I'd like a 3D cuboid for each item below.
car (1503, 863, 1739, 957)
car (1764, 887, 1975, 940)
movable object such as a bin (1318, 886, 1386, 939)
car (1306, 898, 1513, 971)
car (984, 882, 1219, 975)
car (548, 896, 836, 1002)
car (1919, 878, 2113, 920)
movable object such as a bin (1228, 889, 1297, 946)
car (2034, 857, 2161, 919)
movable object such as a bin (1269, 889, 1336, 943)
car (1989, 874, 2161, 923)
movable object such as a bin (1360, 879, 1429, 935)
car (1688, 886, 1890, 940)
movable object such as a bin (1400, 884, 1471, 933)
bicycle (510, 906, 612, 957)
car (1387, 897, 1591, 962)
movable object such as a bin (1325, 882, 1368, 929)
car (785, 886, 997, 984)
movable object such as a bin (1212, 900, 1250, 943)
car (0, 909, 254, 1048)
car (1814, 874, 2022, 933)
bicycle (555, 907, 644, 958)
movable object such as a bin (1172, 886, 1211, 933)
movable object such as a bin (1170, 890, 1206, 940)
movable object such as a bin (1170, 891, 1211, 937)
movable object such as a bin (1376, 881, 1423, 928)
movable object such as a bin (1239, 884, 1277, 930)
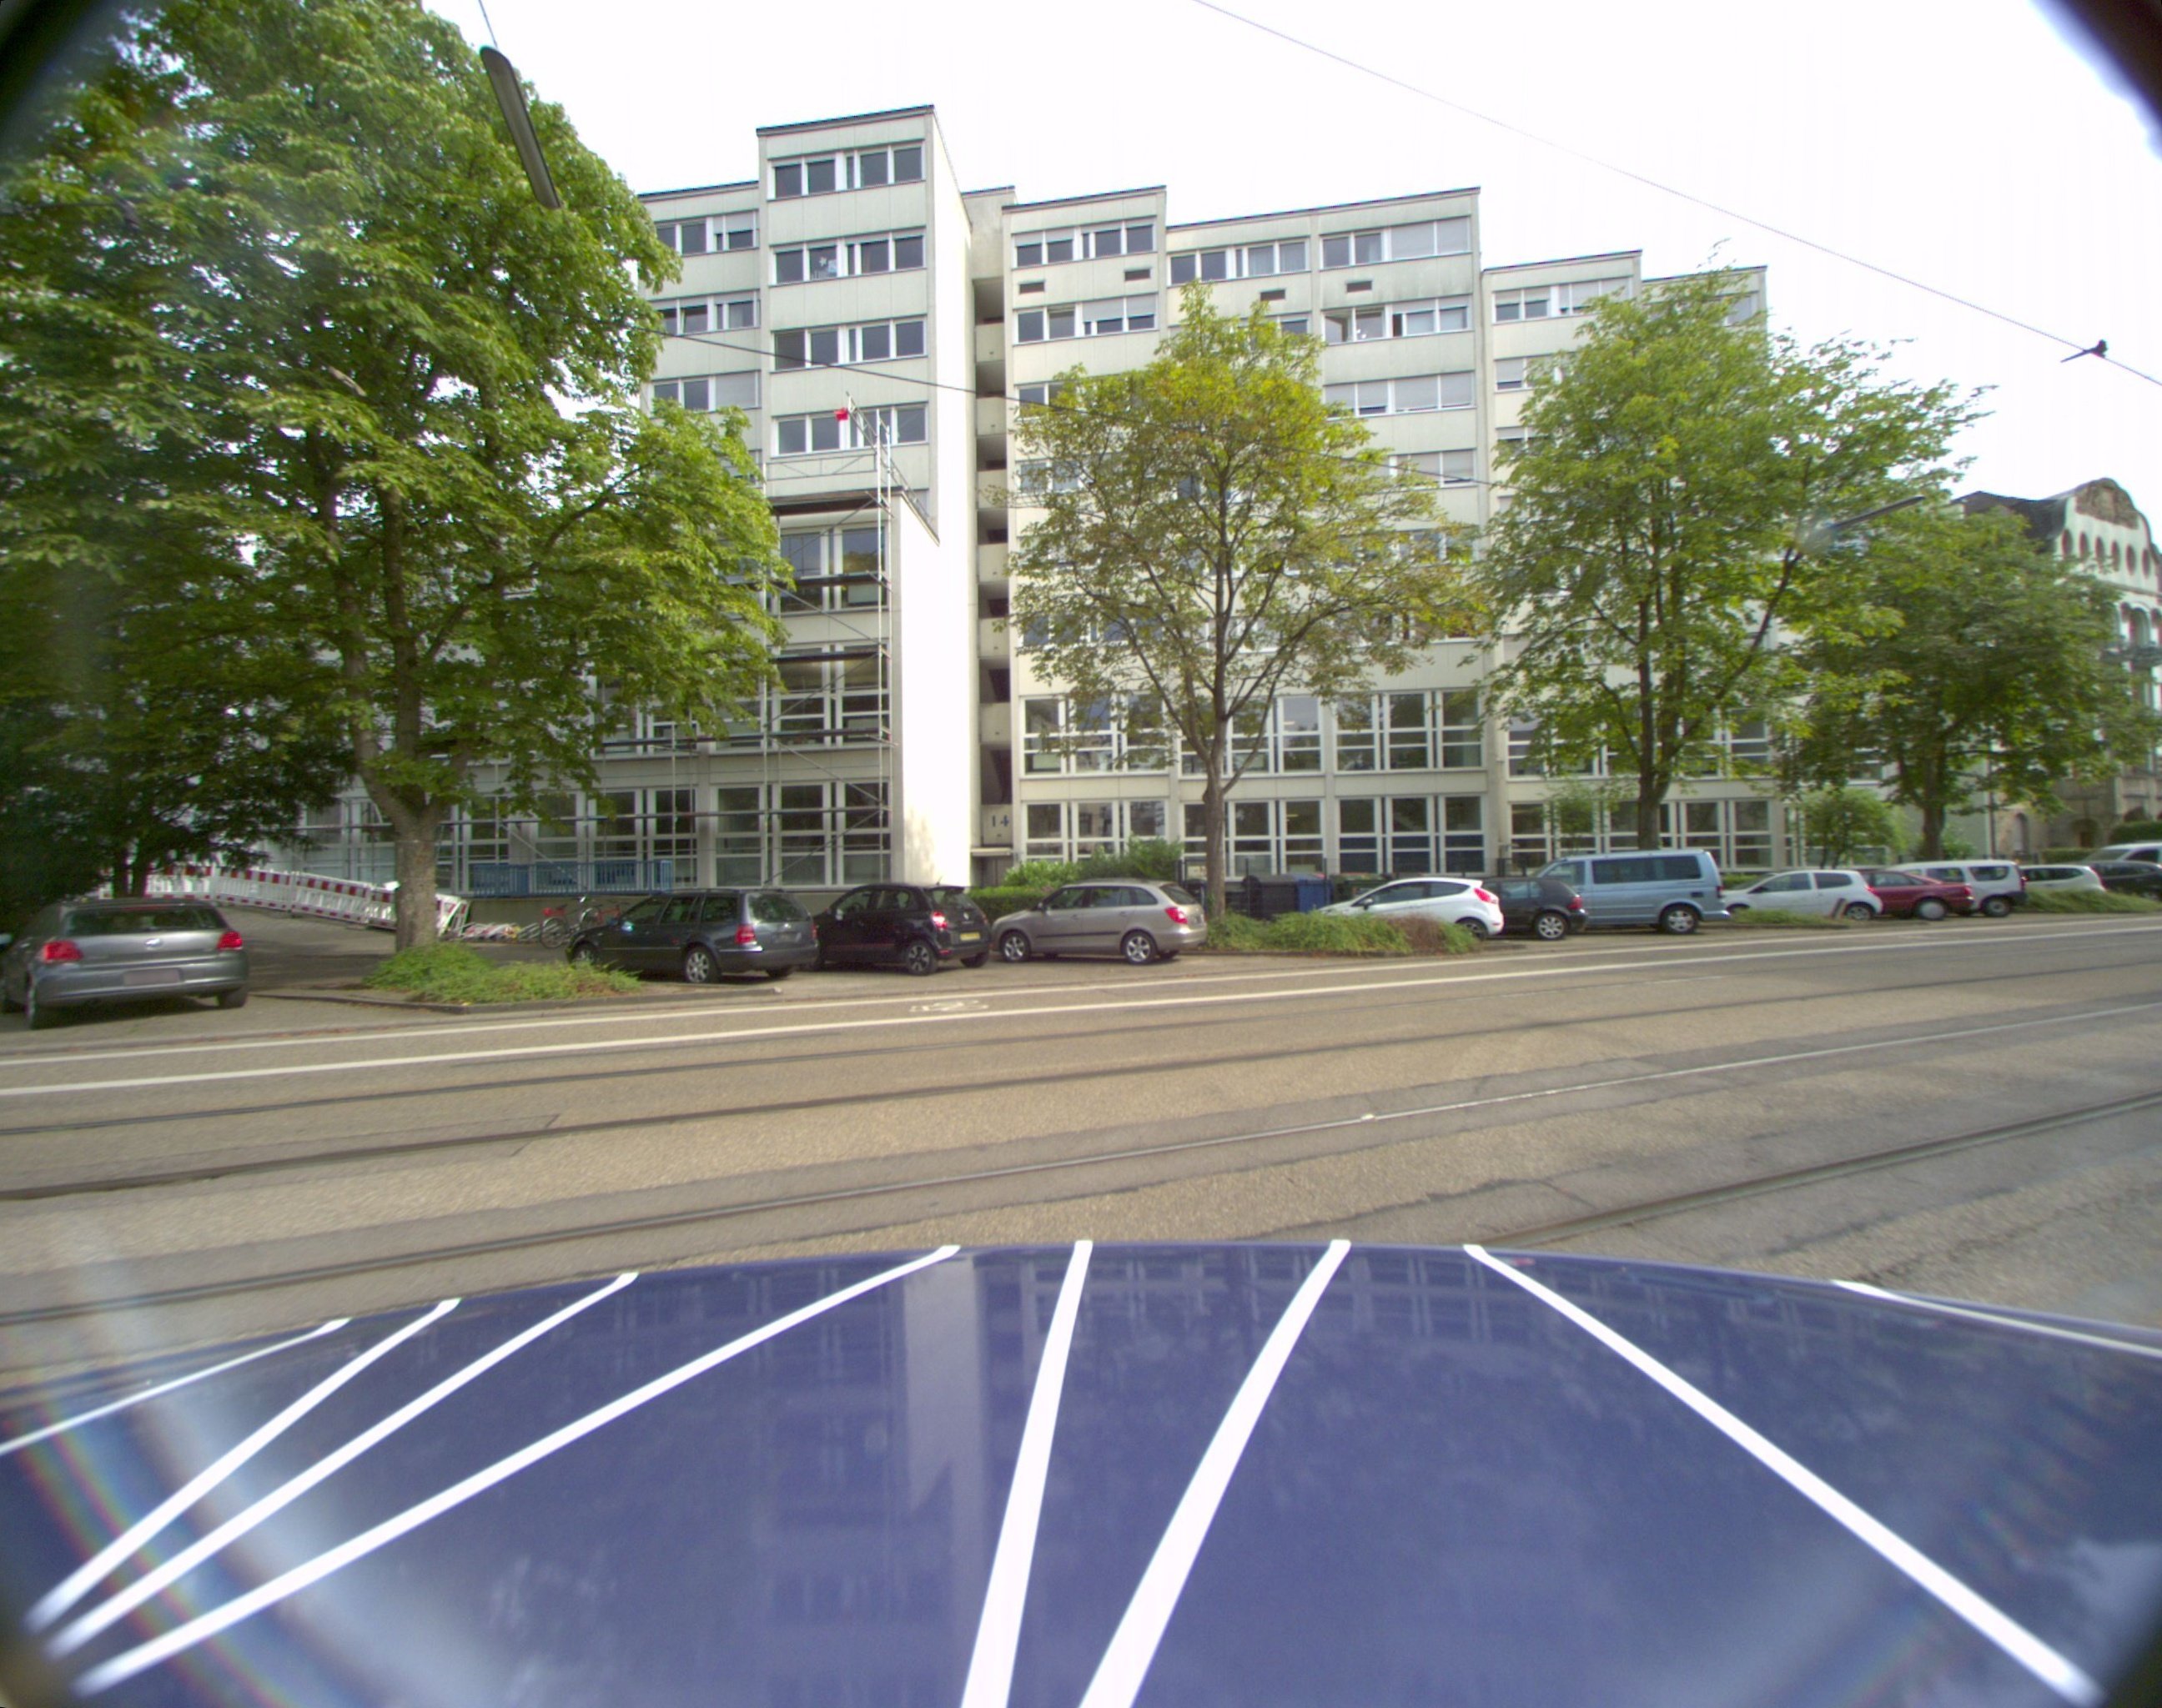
[{"bbox_3d":[12.881,1.324,18.518,4.336,2.051,2.004,-2,-2,24],"label":"car"},{"bbox_3d":[22.193,1.660,21.613,3.760,1.330,1.818,-2,-2,29],"label":"car"},{"bbox_3d":[7.982,1.703,22.450,1.355,1.493,1.334,0,-2,-16],"label":"movable object such as a bin"},{"bbox_3d":[6.954,1.671,16.295,3.853,1.384,1.637,-2,-2,24],"label":"car"},{"bbox_3d":[0.365,1.332,14.178,4.043,1.528,1.599,-2,-2,25],"label":"car"},{"bbox_3d":[-6.216,1.428,12.140,4.160,1.406,1.820,-2,-2,23],"label":"car"},{"bbox_3d":[30.941,1.493,25.303,3.636,1.322,1.771,-2,-2,25],"label":"car"},{"bbox_3d":[5.106,1.754,21.455,1.416,1.520,1.329,0,-2,-16],"label":"movable object such as a bin"},{"bbox_3d":[38.553,1.182,26.961,5.425,2.162,2.153,-2,-2,29],"label":"car"},{"bbox_3d":[6.419,1.767,22.075,1.338,1.494,1.334,0,-2,-16],"label":"movable object such as a bin"},{"bbox_3d":[34.651,1.538,26.484,3.635,1.579,1.772,-3,-2,44],"label":"car"},{"bbox_3d":[9.406,1.572,22.850,1.355,1.586,1.334,0,-2,-16],"label":"movable object such as a bin"},{"bbox_3d":[19.127,1.584,20.753,3.636,1.322,1.771,-2,-2,25],"label":"car"},{"bbox_3d":[10.877,1.649,23.344,1.401,1.449,1.334,0,-2,-16],"label":"movable object such as a bin"},{"bbox_3d":[-11.946,1.760,17.532,0.593,1.037,1.981,-1,-2,18],"label":"bicycle"},{"bbox_3d":[9.346,1.720,17.742,3.963,1.378,1.819,-2,-4,25],"label":"car"},{"bbox_3d":[9.100,1.755,26.128,1.173,1.558,1.181,-1,-2,9],"label":"movable object such as a bin"},{"bbox_3d":[-3.357,1.349,13.385,3.409,1.528,1.599,-2,-2,27],"label":"car"},{"bbox_3d":[4.092,1.830,20.770,0.743,1.098,0.786,0,-2,-14],"label":"movable object such as a bin"},{"bbox_3d":[-12.403,1.452,9.786,3.637,1.411,1.686,-2,-2,31],"label":"car"},{"bbox_3d":[24.827,1.465,22.746,3.760,1.608,1.818,-2,-2,29],"label":"car"},{"bbox_3d":[-11.040,1.777,17.505,0.594,1.037,1.980,-1,-2,8],"label":"bicycle"},{"bbox_3d":[3.800,1.897,26.294,1.179,1.558,1.175,-1,-2,1],"label":"movable object such as a bin"},{"bbox_3d":[3.140,1.768,22.300,0.911,1.398,1.025,-1,-2,1],"label":"movable object such as a bin"},{"bbox_3d":[3.382,1.845,23.611,1.117,1.383,1.064,-1,-2,1],"label":"movable object such as a bin"},{"bbox_3d":[10.804,1.698,25.837,1.173,1.558,1.181,-1,-2,9],"label":"movable object such as a bin"},{"bbox_3d":[6.181,1.850,26.604,1.173,1.558,1.181,-1,-2,9],"label":"movable object such as a bin"}]
